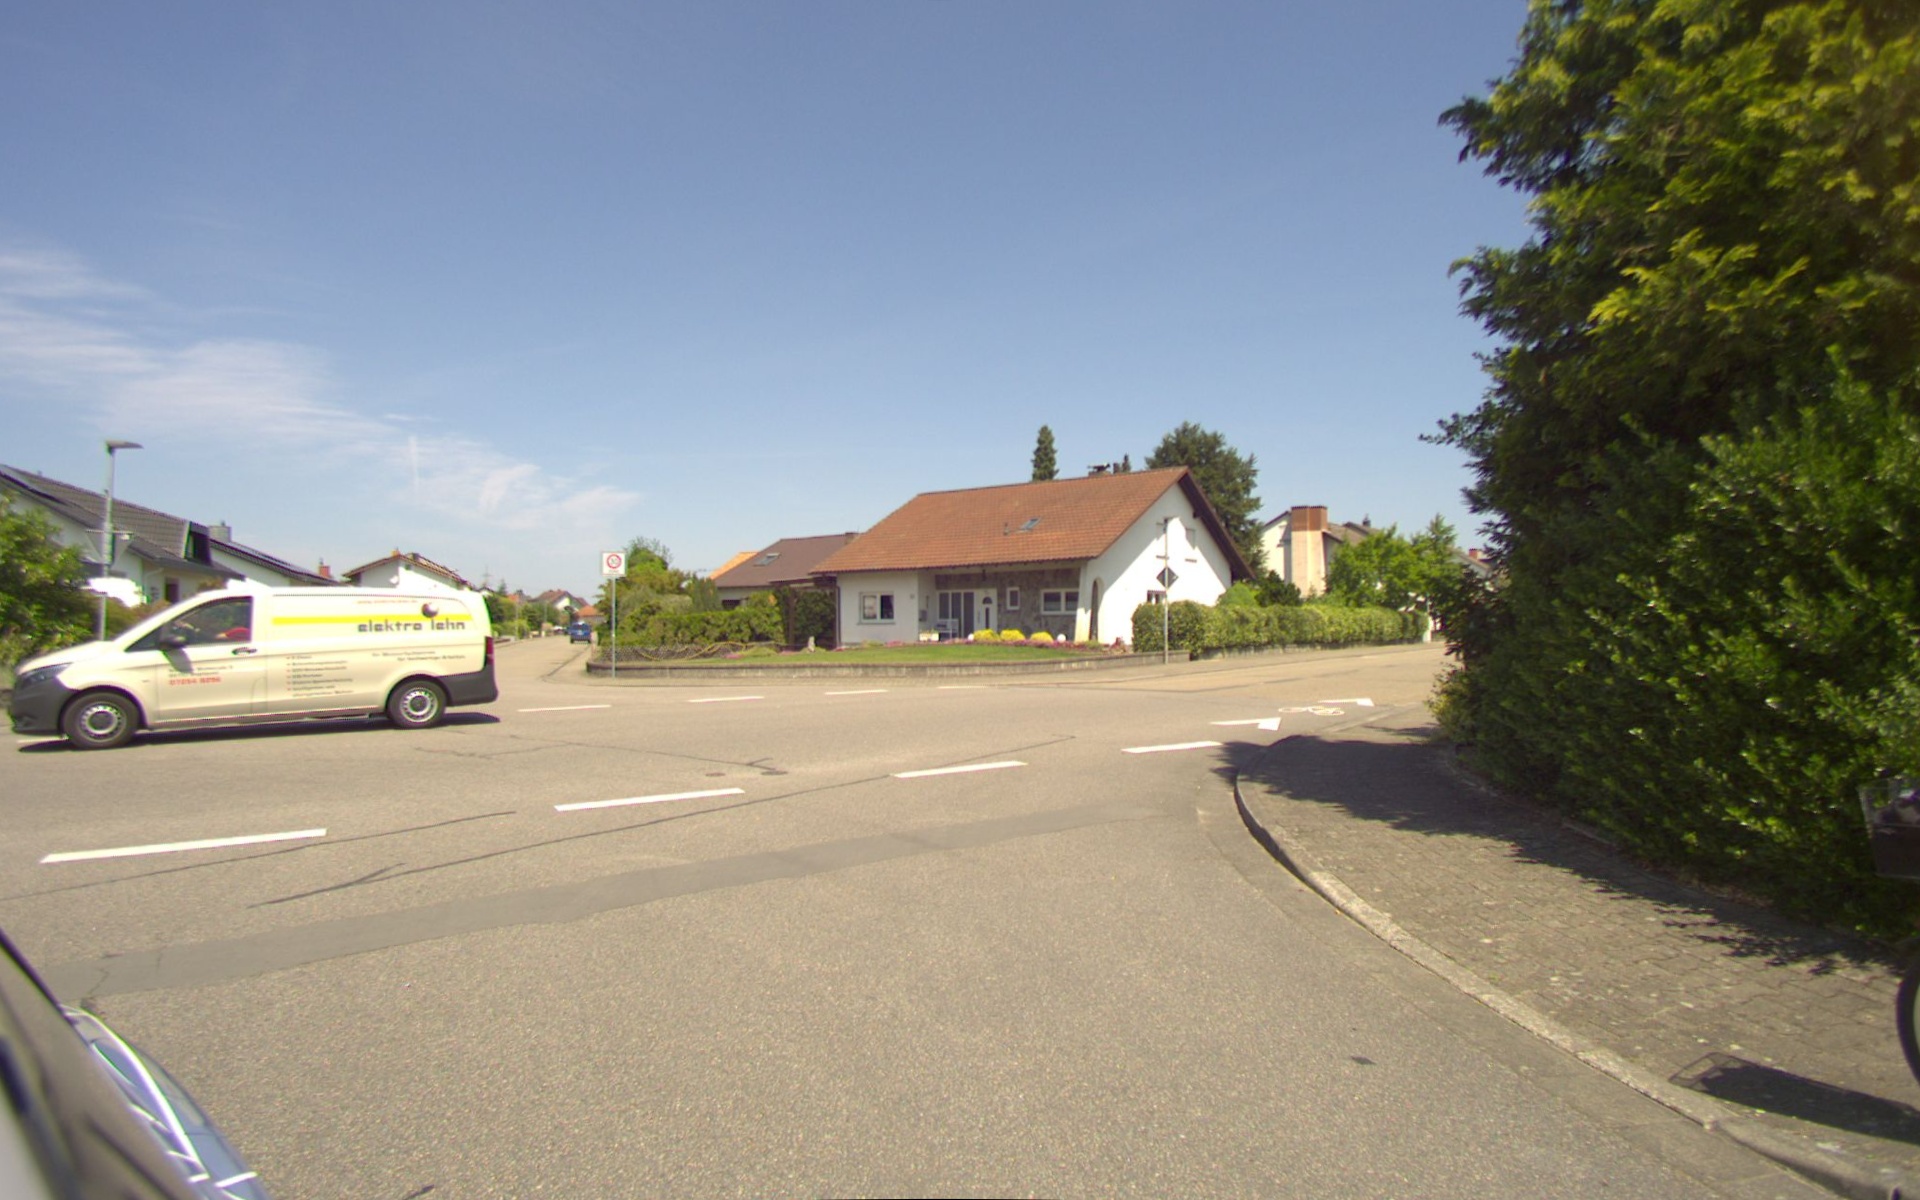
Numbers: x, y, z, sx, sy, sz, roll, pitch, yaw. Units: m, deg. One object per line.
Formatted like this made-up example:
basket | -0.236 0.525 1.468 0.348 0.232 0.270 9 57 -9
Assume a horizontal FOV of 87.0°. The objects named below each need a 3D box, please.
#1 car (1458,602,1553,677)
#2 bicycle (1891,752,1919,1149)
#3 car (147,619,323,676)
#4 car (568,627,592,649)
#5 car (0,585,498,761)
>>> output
car | 14.787 1.038 27.328 1.720 1.860 4.005 -2 -2 36
bicycle | 3.066 0.867 1.909 0.436 0.971 1.854 0 -2 -33
car | -26.050 1.664 36.600 4.880 1.930 1.935 0 -2 -26
car | -33.545 3.350 89.351 1.797 1.896 4.012 0 -1 -18
car | -8.837 0.800 12.999 4.985 1.870 2.024 0 -1 -36
